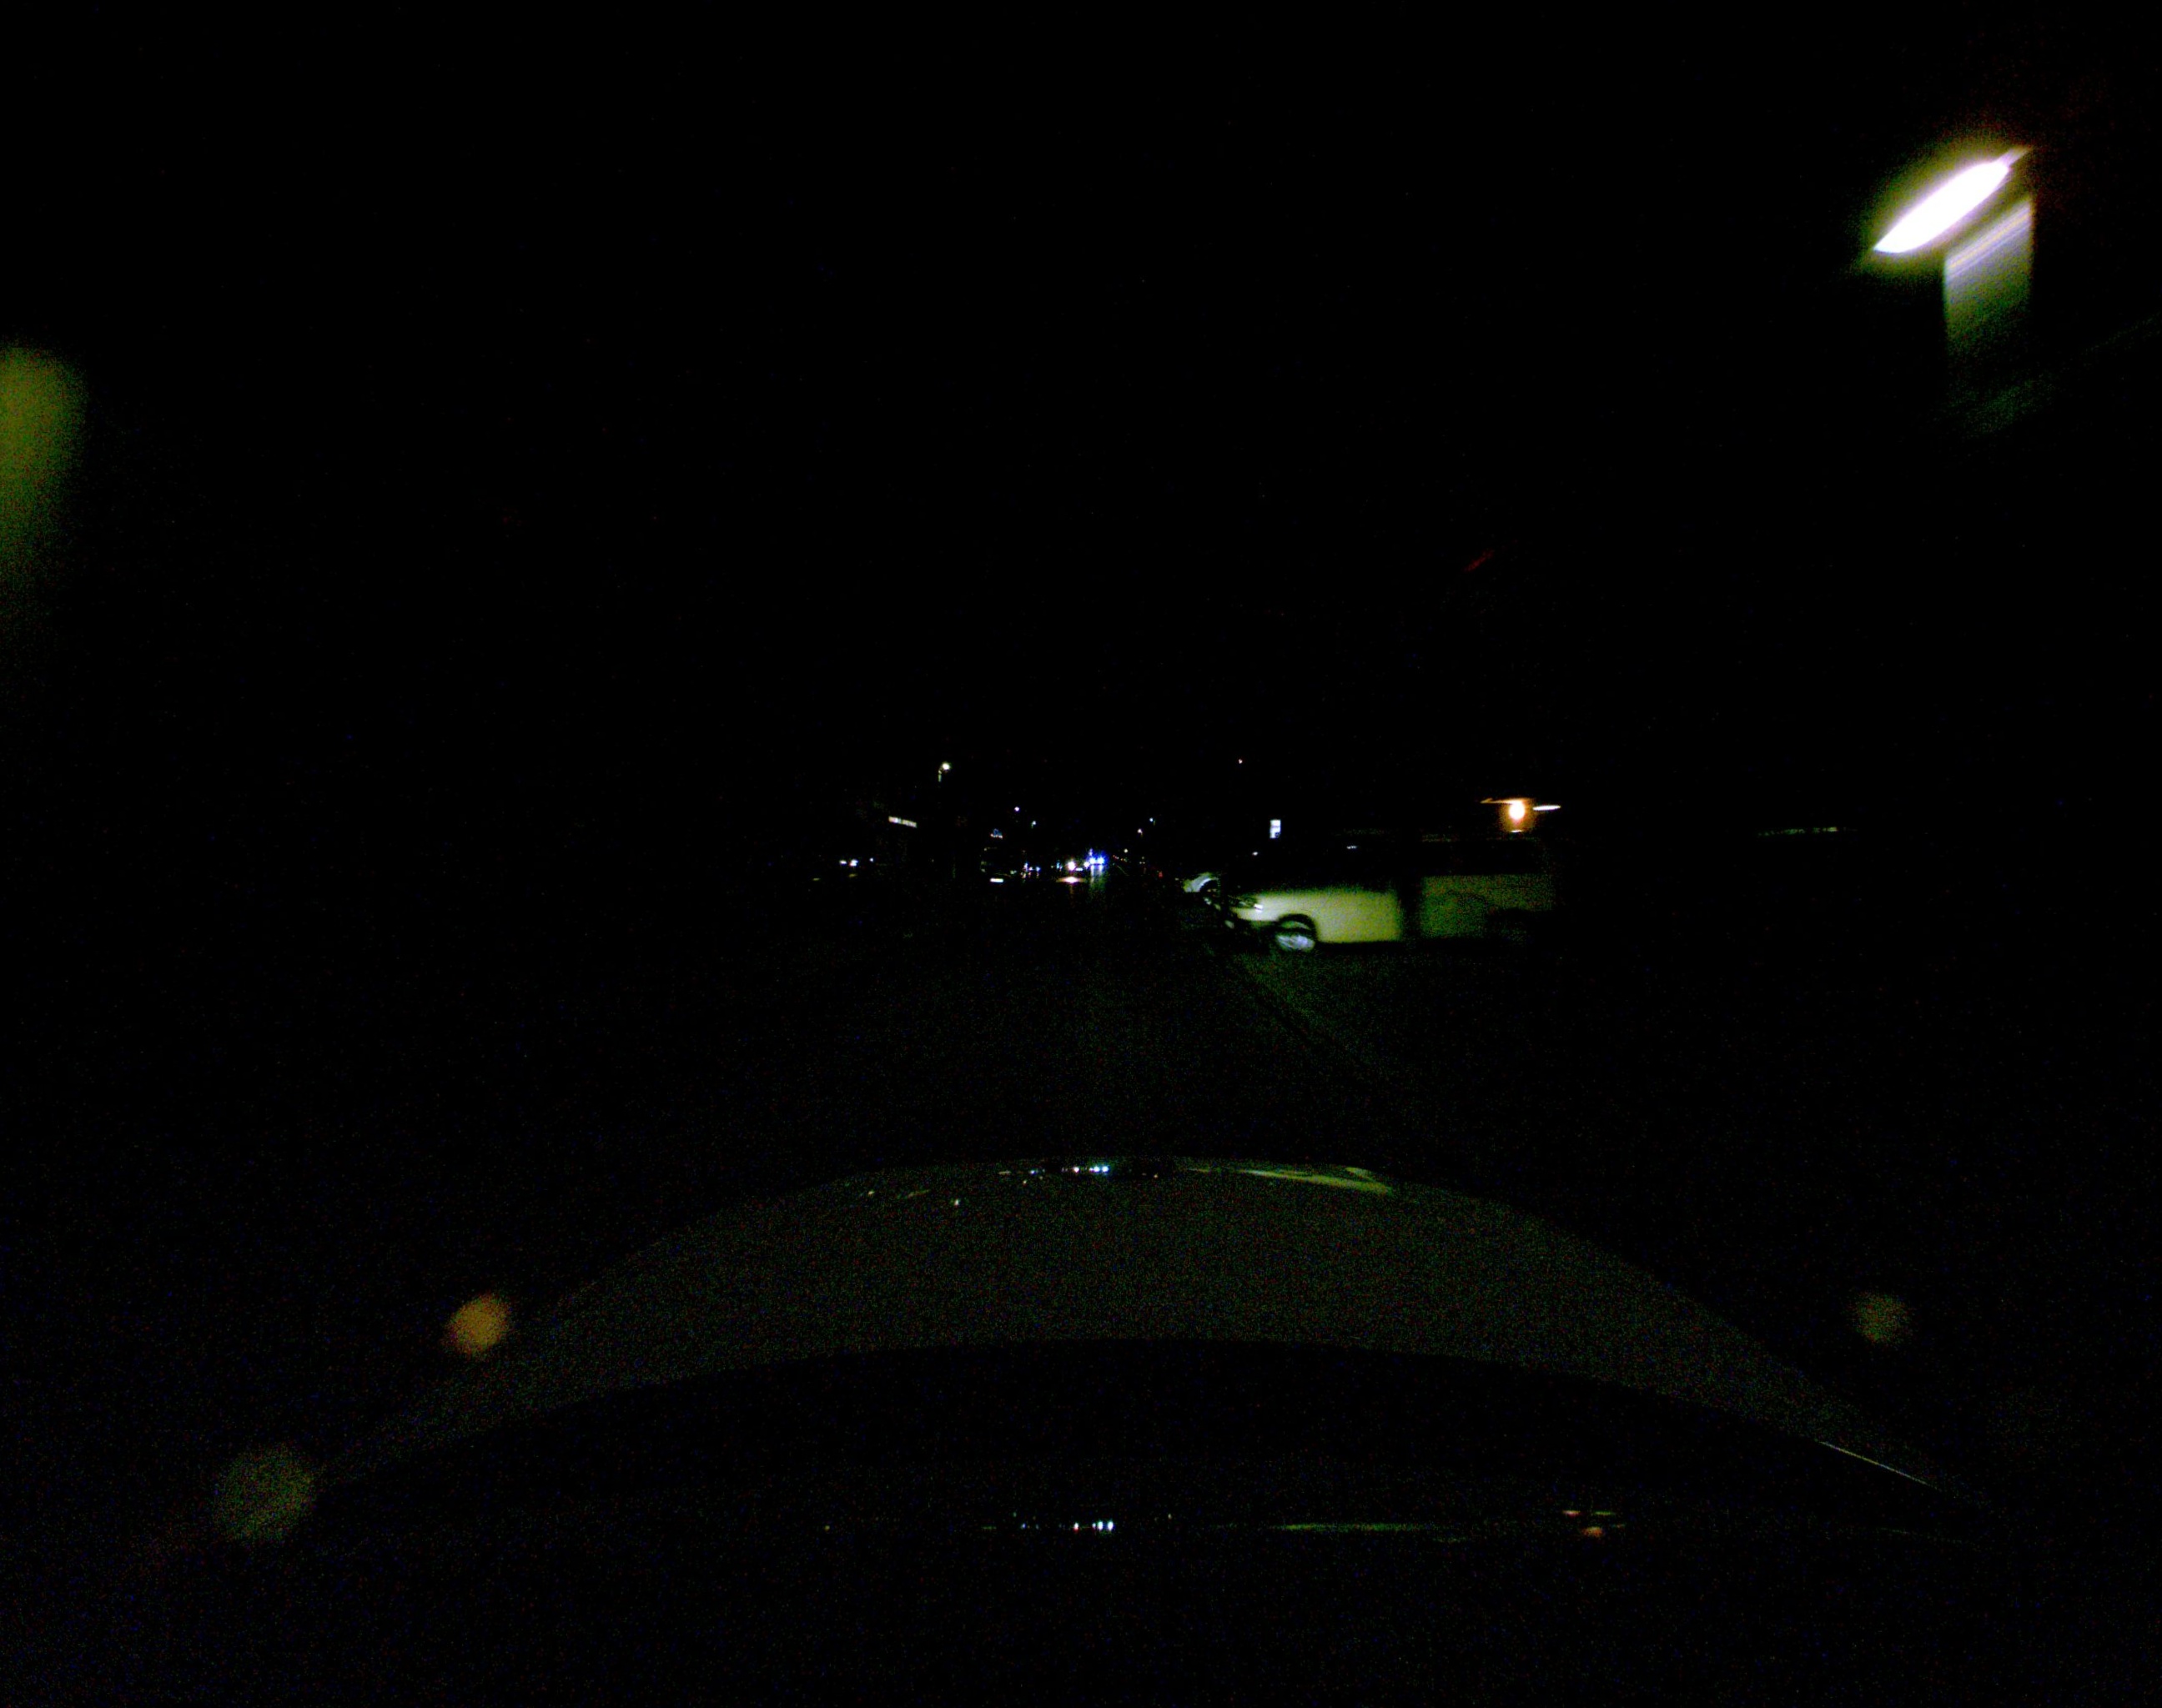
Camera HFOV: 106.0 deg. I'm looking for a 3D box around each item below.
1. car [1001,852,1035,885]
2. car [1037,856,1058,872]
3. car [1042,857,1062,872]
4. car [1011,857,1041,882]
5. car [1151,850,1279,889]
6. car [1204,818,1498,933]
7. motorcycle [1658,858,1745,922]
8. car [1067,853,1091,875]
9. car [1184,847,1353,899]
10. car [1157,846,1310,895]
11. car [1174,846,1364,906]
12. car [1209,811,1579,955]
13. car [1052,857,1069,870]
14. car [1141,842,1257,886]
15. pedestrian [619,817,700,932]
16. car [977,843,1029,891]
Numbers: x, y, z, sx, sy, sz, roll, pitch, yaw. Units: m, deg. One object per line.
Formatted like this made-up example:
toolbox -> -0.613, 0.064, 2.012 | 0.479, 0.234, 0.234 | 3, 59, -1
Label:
car -> -3.405, 0.746, 44.218 | 1.529, 1.688, 3.212 | 2, 0, 0
car -> -2.861, 0.883, 69.950 | 1.677, 1.331, 3.599 | 0, 0, 0
car -> -2.671, 0.993, 75.740 | 1.677, 1.331, 3.599 | 0, 0, 0
car -> -3.272, 0.892, 48.950 | 1.529, 1.451, 3.119 | 0, 0, 0
car -> 5.721, 0.657, 35.225 | 5.165, 1.469, 2.101 | -2, 0, 0
car -> 5.194, 0.403, 16.239 | 5.165, 2.013, 2.101 | -2, 0, 0
motorcycle -> 14.371, 0.790, 18.958 | 1.060, 1.327, 2.722 | 0, 1, 25
car -> -0.124, 0.796, 66.718 | 1.920, 1.649, 3.821 | -1, 0, 0
car -> 6.141, 0.608, 27.144 | 5.165, 1.525, 2.101 | -2, 0, 0
car -> 5.462, 0.581, 29.712 | 5.165, 1.594, 2.101 | -2, 0, 0
car -> 5.466, 0.626, 24.216 | 5.165, 1.594, 2.101 | -2, 0, 0
car -> 4.827, 0.432, 13.180 | 5.165, 2.013, 2.101 | -2, 0, 0
car -> -2.156, 1.019, 85.372 | 1.677, 1.331, 3.599 | 0, 0, 0
car -> 5.511, 0.464, 37.951 | 5.149, 1.887, 2.108 | -2, 0, 11
pedestrian -> -7.734, 0.358, 15.001 | 0.782, 2.013, 1.205 | 1, 0, 2
car -> -3.496, 0.558, 37.129 | 1.818, 1.986, 4.465 | 2, 0, 0
